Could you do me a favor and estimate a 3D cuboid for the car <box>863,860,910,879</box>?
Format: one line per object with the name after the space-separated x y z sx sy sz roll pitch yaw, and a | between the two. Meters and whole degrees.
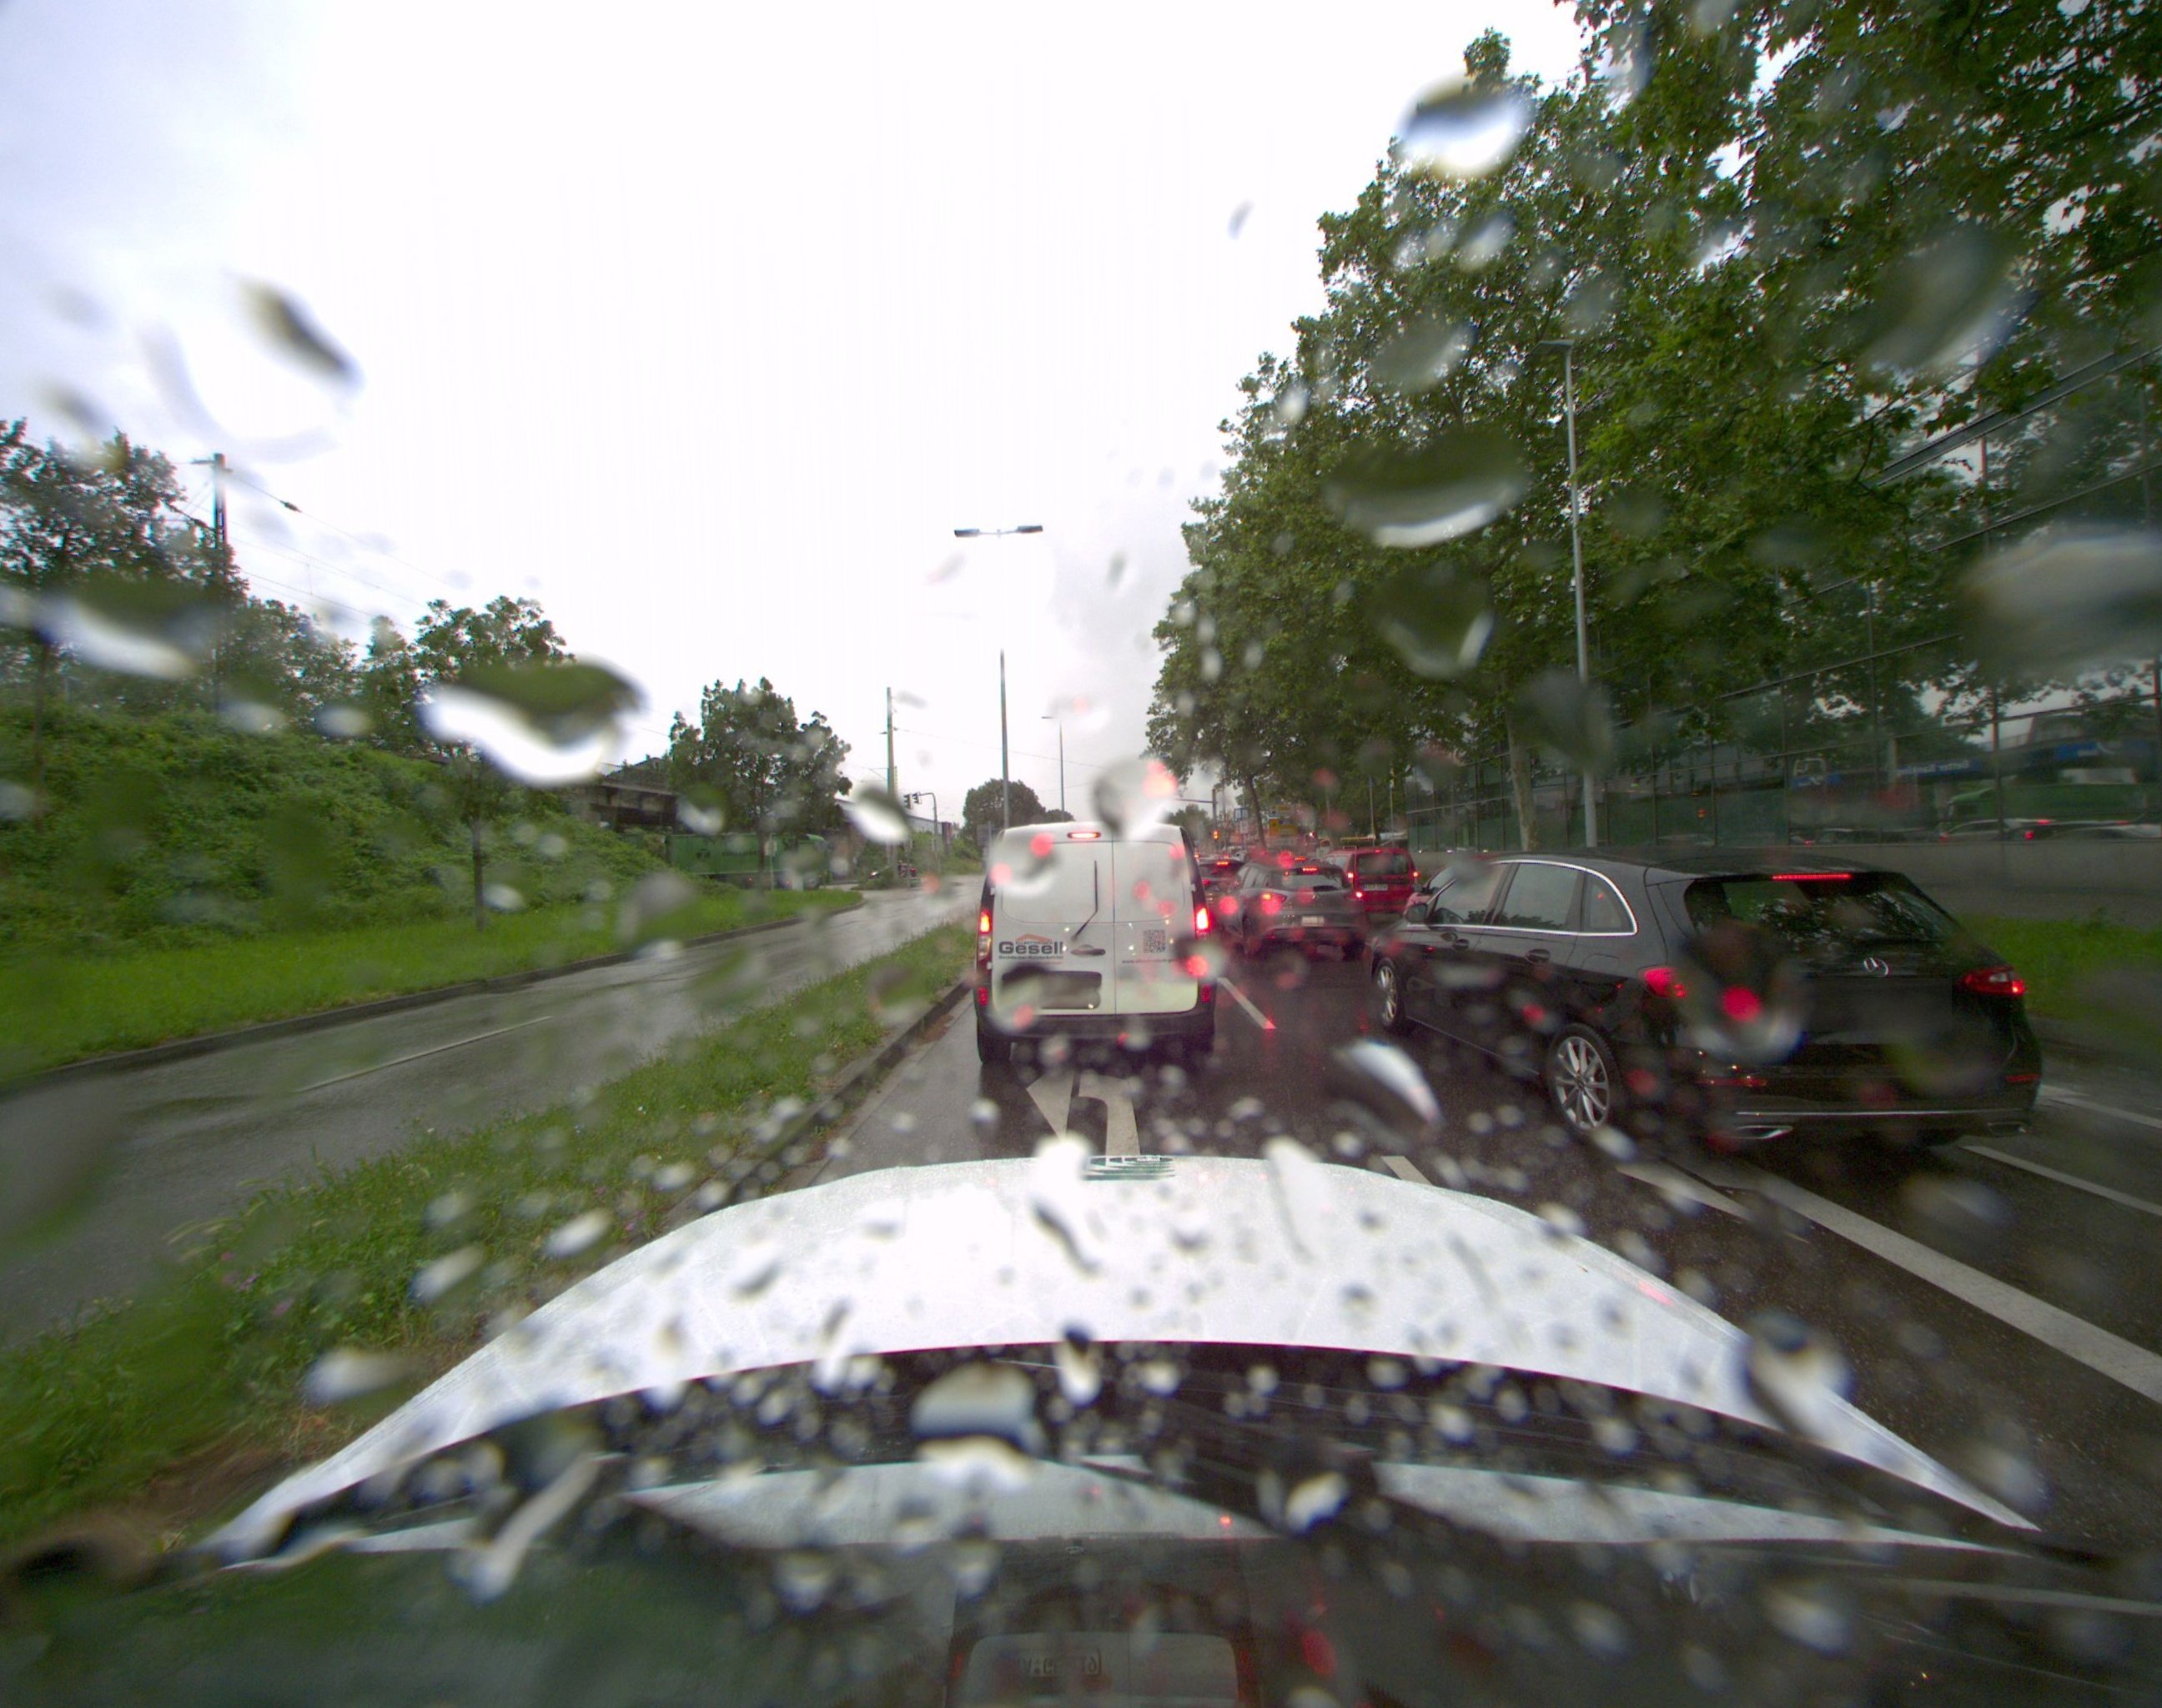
-18.898 1.477 79.195 4.016 1.717 1.979 -1 0 -34 | car

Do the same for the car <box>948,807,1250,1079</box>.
0.194 0.592 7.763 1.986 1.776 4.587 -1 0 2 | car

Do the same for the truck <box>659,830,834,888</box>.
-21.325 0.242 52.352 10.105 3.371 2.322 -2 0 -35 | truck

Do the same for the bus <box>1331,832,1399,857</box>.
42.691 -1.455 122.032 12.052 3.423 2.458 -3 0 -32 | bus

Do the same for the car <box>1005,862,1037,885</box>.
-4.321 1.404 59.275 1.810 1.462 4.001 -4 0 1 | car

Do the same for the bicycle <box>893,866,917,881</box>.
-12.117 1.346 56.019 1.045 0.952 2.866 -2 0 -22 | bicycle

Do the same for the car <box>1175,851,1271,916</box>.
3.501 0.667 20.673 1.847 1.460 3.844 -1 0 2 | car

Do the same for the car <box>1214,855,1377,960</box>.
3.265 0.735 13.118 1.677 1.408 3.844 0 0 1 | car

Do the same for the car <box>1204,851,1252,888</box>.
6.903 0.721 38.605 1.702 1.650 3.844 -1 -1 2 | car

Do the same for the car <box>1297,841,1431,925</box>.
6.309 0.622 18.670 1.704 1.694 4.273 0 -1 2 | car

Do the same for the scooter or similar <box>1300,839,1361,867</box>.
23.443 -0.061 76.679 1.905 2.446 5.257 -1 0 -39 | scooter or similar

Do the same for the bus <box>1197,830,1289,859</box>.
21.882 -1.325 110.584 11.926 3.423 2.316 -2 0 1 | bus

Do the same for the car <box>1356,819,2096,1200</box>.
3.377 0.650 5.441 1.741 1.554 4.091 -1 0 1 | car

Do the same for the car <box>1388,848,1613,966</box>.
5.910 0.661 11.926 1.563 1.462 3.390 -1 0 1 | car

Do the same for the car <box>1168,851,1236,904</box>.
4.059 0.736 27.892 1.847 1.649 3.844 -1 0 2 | car

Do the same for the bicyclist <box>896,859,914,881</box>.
-12.085 1.100 55.936 1.045 1.450 0.723 -2 0 -23 | bicyclist

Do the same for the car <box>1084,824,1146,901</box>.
1.091 0.262 26.614 1.847 2.296 3.844 -1 0 2 | car

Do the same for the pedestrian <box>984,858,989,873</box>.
-11.249 1.391 96.550 0.541 1.716 0.563 0 -1 -2 | pedestrian

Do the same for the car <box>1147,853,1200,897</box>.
3.753 0.822 33.566 1.847 1.650 3.844 -1 -1 2 | car
